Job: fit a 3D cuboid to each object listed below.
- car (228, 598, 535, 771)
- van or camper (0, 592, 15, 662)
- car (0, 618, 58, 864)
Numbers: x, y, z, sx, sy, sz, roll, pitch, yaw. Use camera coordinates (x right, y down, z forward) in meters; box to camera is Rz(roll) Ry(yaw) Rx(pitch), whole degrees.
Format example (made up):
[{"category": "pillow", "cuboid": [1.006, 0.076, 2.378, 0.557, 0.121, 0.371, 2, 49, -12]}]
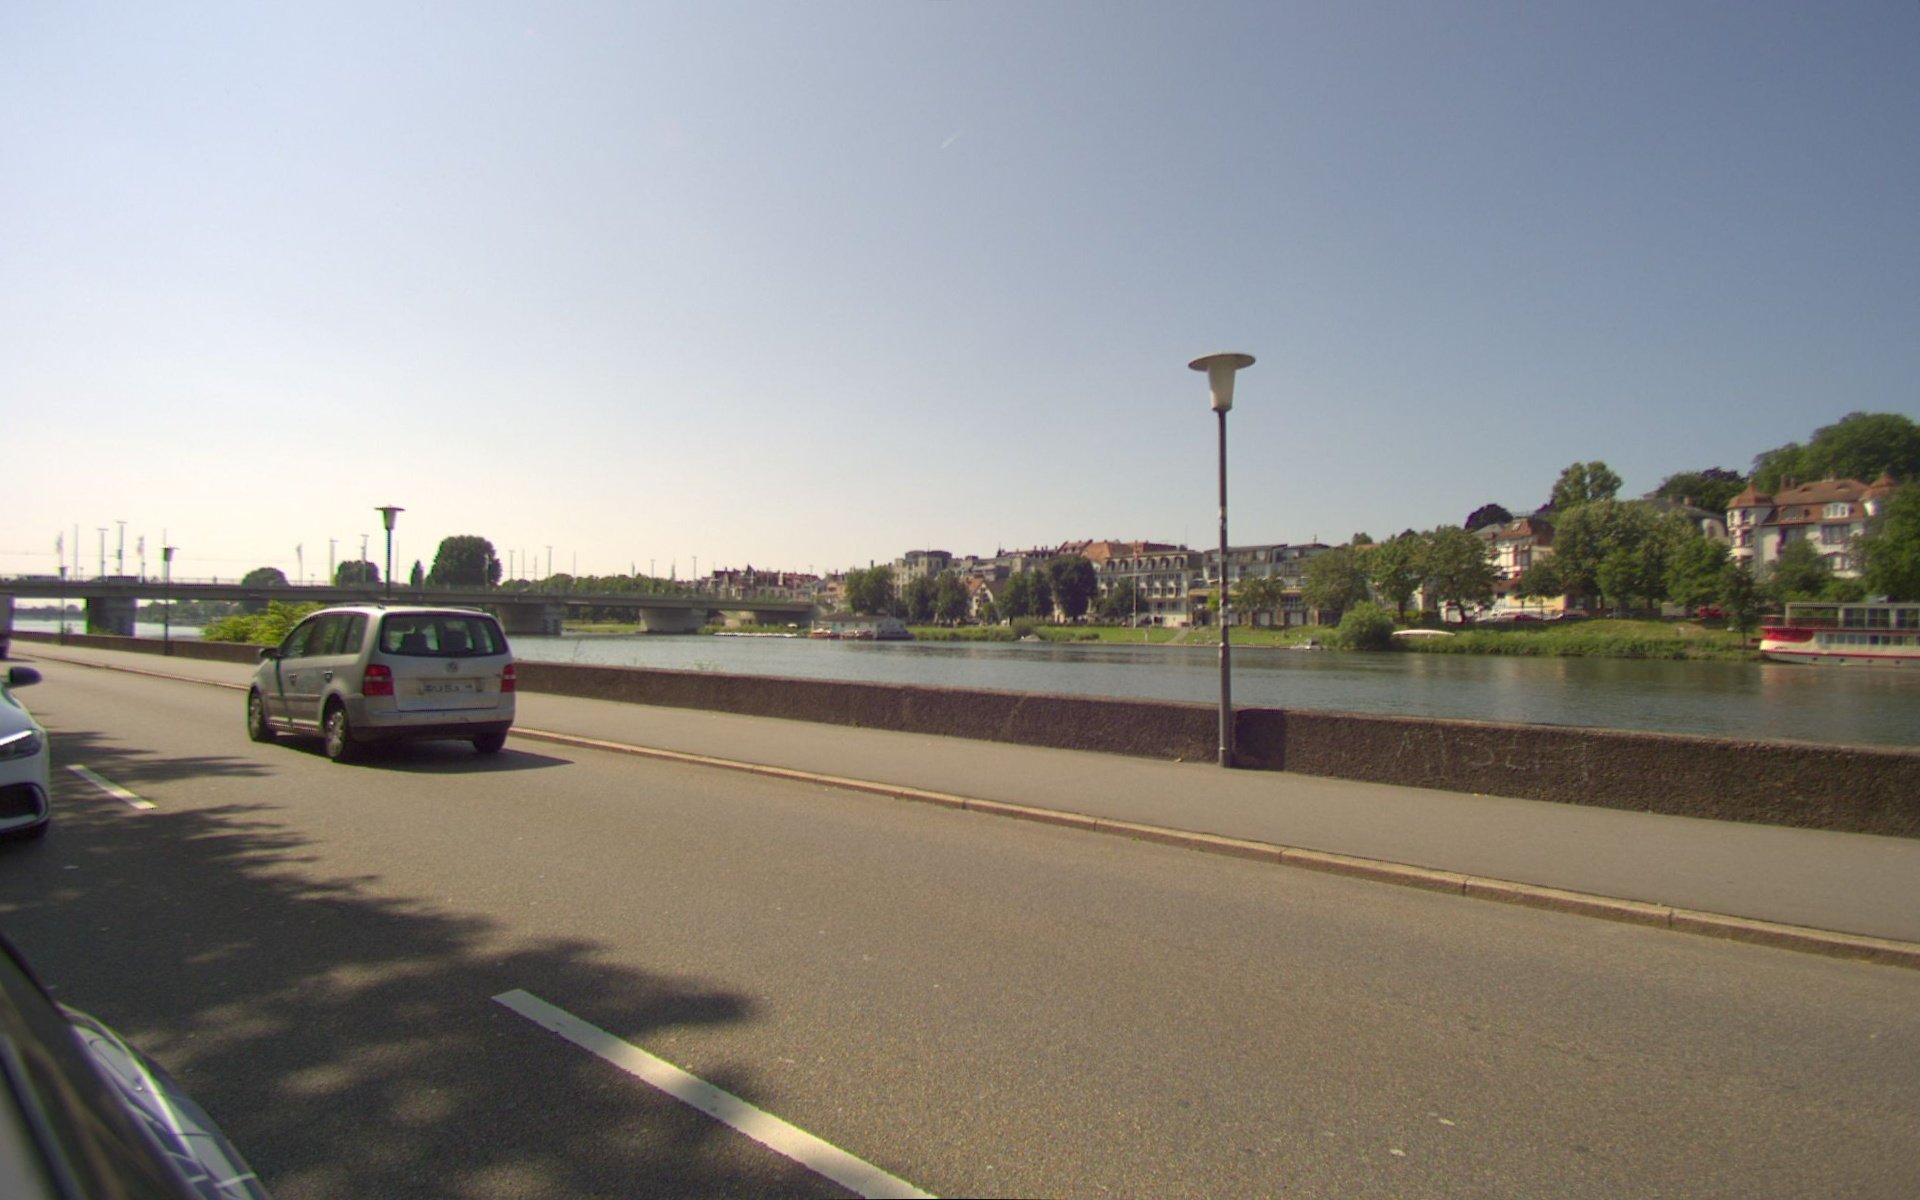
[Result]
[{"category": "car", "cuboid": [-6.822, 0.876, 11.765, 4.173, 1.662, 1.714, -1, -3, 40]}, {"category": "van or camper", "cuboid": [-35.948, 0.950, 36.470, 5.381, 2.417, 2.056, -1, -3, 40]}, {"category": "car", "cuboid": [-7.748, 0.858, 6.909, 4.549, 1.430, 1.807, -1, -1, 41]}]
